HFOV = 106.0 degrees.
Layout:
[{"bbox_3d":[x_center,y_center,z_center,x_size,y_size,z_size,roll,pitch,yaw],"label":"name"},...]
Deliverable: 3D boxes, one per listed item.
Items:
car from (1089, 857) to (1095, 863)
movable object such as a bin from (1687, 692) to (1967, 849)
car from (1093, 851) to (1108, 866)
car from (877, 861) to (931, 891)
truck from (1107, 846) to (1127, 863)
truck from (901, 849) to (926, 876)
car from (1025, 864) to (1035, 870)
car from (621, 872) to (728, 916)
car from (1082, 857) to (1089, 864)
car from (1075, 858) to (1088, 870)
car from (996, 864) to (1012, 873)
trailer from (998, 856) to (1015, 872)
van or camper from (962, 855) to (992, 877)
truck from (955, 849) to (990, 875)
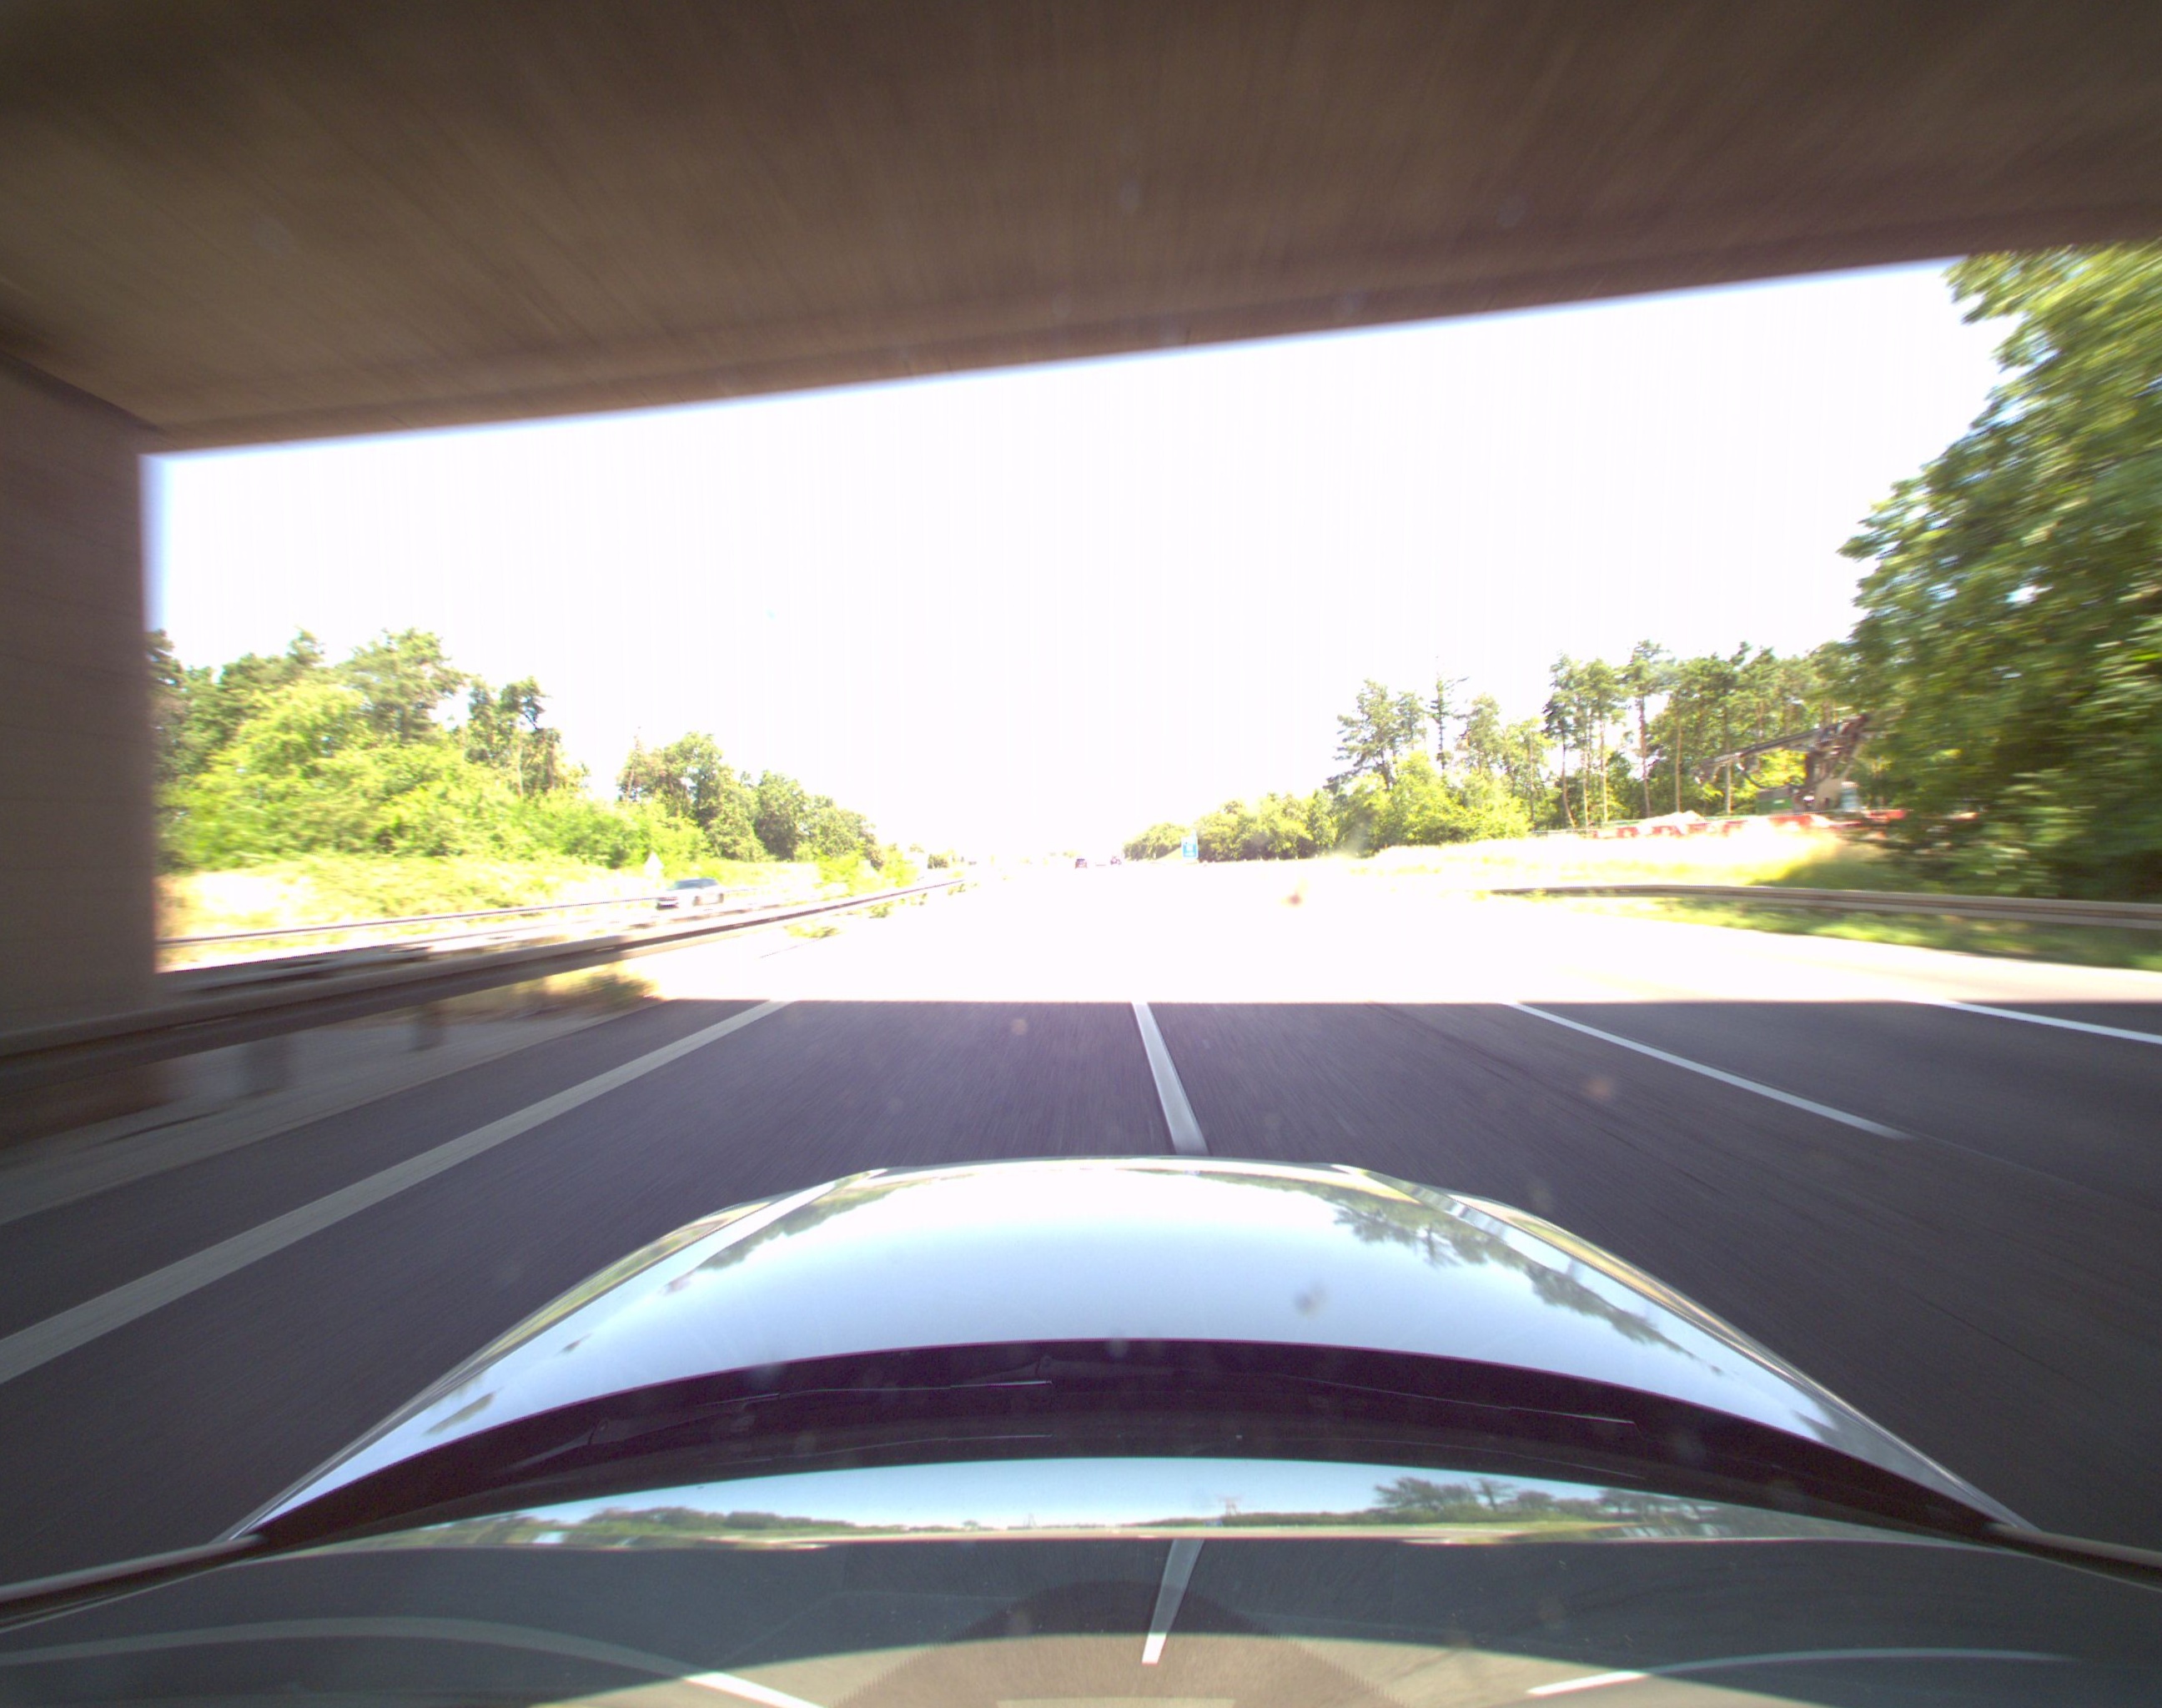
[{"bbox_3d":[3.075,1.644,233.144,1.741,1.634,4.004,-1,0,1],"label":"car"},{"bbox_3d":[46.971,-4.381,53.411,3.107,7.926,22.884,-1,0,15],"label":"movable object such as a bin"},{"bbox_3d":[3.623,0.770,152.518,2.612,2.759,6.096,-1,0,1],"label":"car"},{"bbox_3d":[-11.095,1.372,51.432,2.220,1.610,5.059,-4,0,0],"label":"car"},{"bbox_3d":[8.351,0.170,193.373,4.316,3.941,16.080,-1,0,1],"label":"truck"},{"bbox_3d":[-32.014,1.535,156.286,3.063,4.827,7.709,-5,0,-2],"label":"truck"},{"bbox_3d":[-13.374,3.405,215.778,2.220,1.380,4.890,-4,0,0],"label":"car"},{"bbox_3d":[-18.418,1.751,37.234,2.220,1.610,5.059,-4,0,0],"label":"car"},{"bbox_3d":[1.214,1.627,211.107,1.741,1.634,4.004,-1,0,1],"label":"car"},{"bbox_3d":[0.095,1.491,120.861,1.987,1.750,4.000,-1,0,0],"label":"car"},{"bbox_3d":[-13.637,2.524,144.071,2.220,1.380,4.691,-4,0,0],"label":"car"},{"bbox_3d":[-13.666,1.818,148.996,2.469,2.747,5.074,-4,0,0],"label":"trailer"},{"bbox_3d":[-14.114,1.577,111.133,2.492,2.810,8.564,-3,-1,2],"label":"van or camper"},{"bbox_3d":[-18.456,1.373,139.567,3.315,3.996,16.868,-3,0,1],"label":"truck"}]
